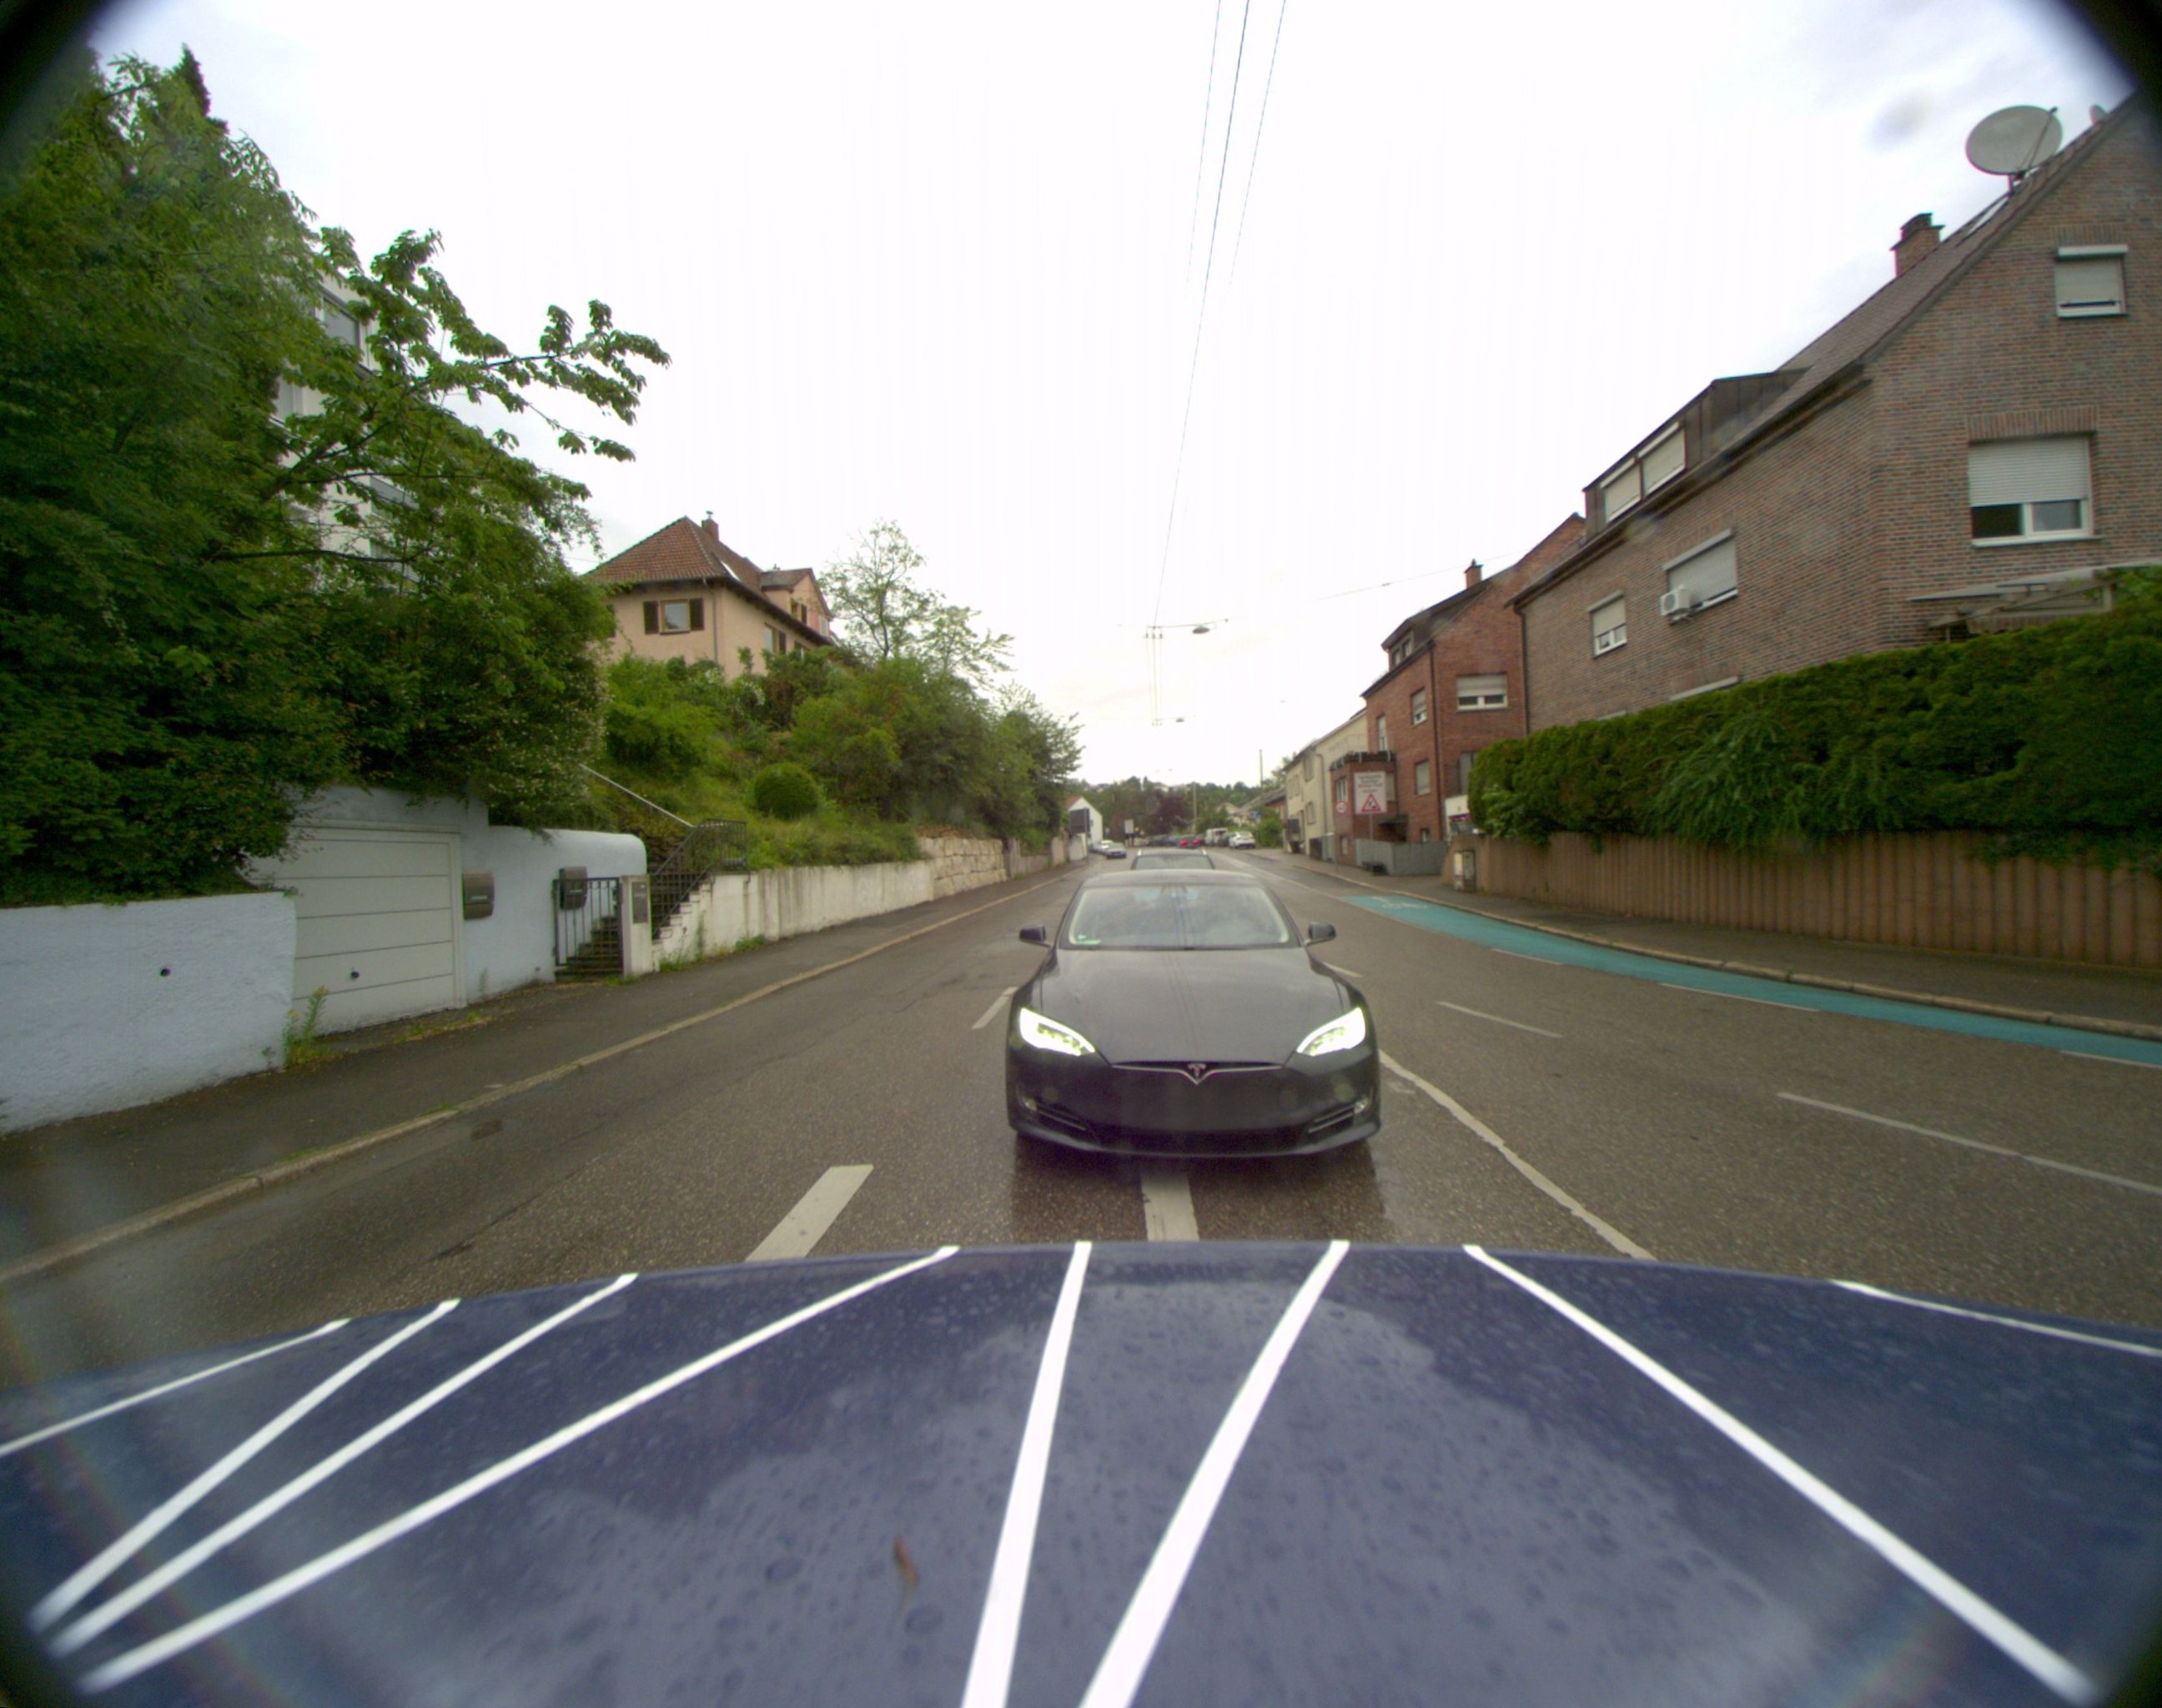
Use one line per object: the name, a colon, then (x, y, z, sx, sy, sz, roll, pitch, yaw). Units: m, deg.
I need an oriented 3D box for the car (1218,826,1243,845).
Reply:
car: (15.745, -1.906, 80.130, 1.814, 1.793, 4.263, -4, 1, 2)

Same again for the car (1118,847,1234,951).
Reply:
car: (1.659, 0.711, 14.034, 1.789, 1.580, 3.784, -2, 1, 4)

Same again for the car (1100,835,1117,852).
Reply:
car: (3.209, -1.254, 89.162, 1.820, 1.855, 4.038, -2, 2, -1)

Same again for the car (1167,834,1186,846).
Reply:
car: (12.873, -1.913, 102.660, 1.624, 1.482, 3.901, -4, 1, -4)

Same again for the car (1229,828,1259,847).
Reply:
car: (15.375, -1.555, 71.982, 1.946, 1.557, 4.263, -4, 1, 2)

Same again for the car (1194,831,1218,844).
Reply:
car: (15.035, -1.950, 91.529, 1.654, 1.482, 4.009, -4, 1, -6)

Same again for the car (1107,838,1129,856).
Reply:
car: (3.610, -0.631, 73.098, 2.002, 1.596, 4.360, -2, -1, 4)

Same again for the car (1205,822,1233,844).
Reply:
car: (15.636, -2.335, 86.159, 2.257, 2.273, 4.546, -4, 1, 0)

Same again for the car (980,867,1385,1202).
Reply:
car: (0.620, 0.909, 5.595, 1.870, 1.407, 4.000, -2, 1, 4)

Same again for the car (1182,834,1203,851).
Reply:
car: (11.315, -1.159, 77.258, 1.853, 1.671, 4.172, 0, 2, 4)
